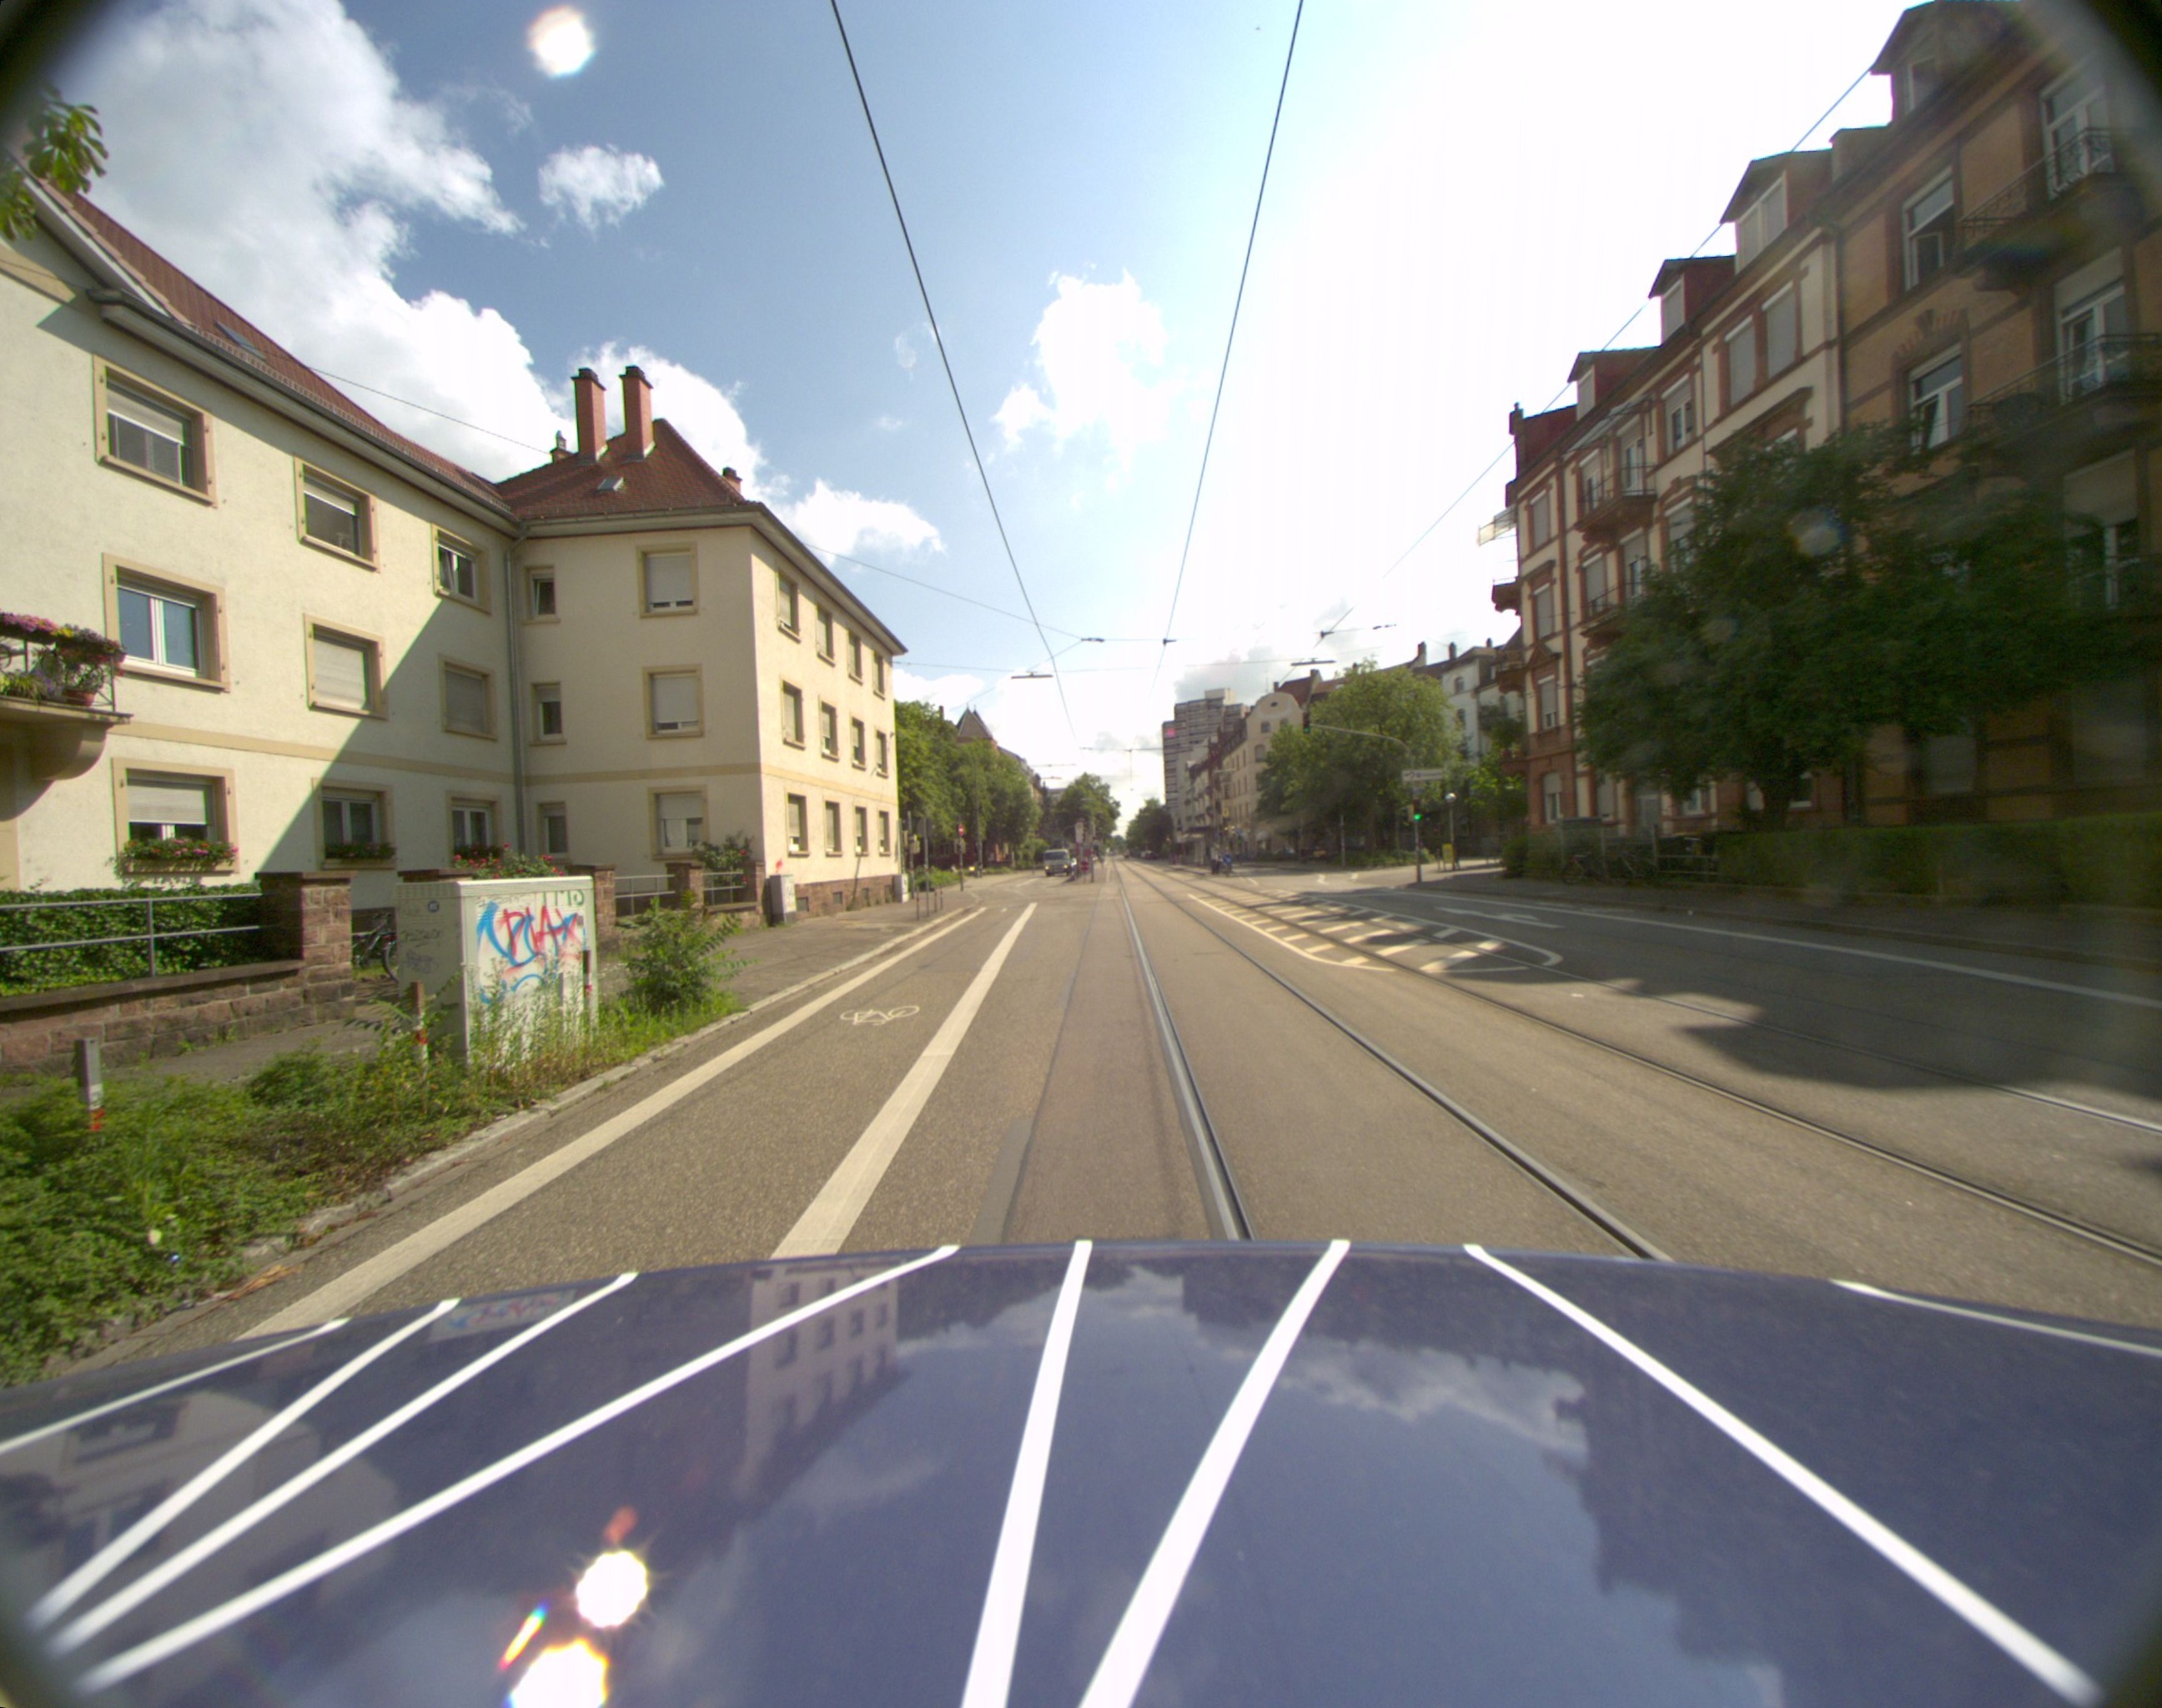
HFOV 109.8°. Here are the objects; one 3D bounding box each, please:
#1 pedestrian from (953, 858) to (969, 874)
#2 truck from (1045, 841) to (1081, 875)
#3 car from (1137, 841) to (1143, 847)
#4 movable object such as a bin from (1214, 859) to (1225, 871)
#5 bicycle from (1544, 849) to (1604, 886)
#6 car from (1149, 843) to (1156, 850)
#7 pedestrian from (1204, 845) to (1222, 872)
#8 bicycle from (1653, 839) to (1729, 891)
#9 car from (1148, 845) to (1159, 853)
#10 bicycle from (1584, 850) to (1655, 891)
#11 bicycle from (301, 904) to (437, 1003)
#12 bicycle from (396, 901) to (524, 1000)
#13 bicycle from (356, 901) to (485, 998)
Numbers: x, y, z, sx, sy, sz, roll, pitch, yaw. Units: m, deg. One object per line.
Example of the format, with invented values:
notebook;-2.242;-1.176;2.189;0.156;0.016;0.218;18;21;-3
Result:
pedestrian;-9.475;0.956;59.941;1.160;1.195;0.906;0;0;-5
truck;-1.494;0.301;65.834;2.531;2.722;6.516;-3;0;3
car;20.299;-3.482;259.745;1.841;1.799;3.892;-3;0;2
movable object such as a bin;8.131;0.640;44.592;0.512;0.713;0.457;-3;1;-11
bicycle;13.366;0.356;20.673;0.560;0.927;1.826;-3;1;5
car;23.139;-2.374;245.952;1.841;2.180;3.892;-3;1;2
pedestrian;7.622;0.260;43.854;0.782;1.565;0.693;-3;1;-11
bicycle;13.964;0.250;17.409;1.308;1.124;0.497;-3;1;1
car;15.401;-1.058;161.546;1.841;1.482;3.892;-3;0;2
bicycle;13.208;0.383;18.689;0.560;0.927;1.826;-3;1;5
bicycle;-10.231;1.391;10.987;0.506;1.194;1.491;-3;1;-1
bicycle;-8.792;1.329;10.828;0.506;1.194;1.491;-3;1;1
bicycle;-9.536;1.348;11.046;0.506;1.194;1.491;-3;1;-1
